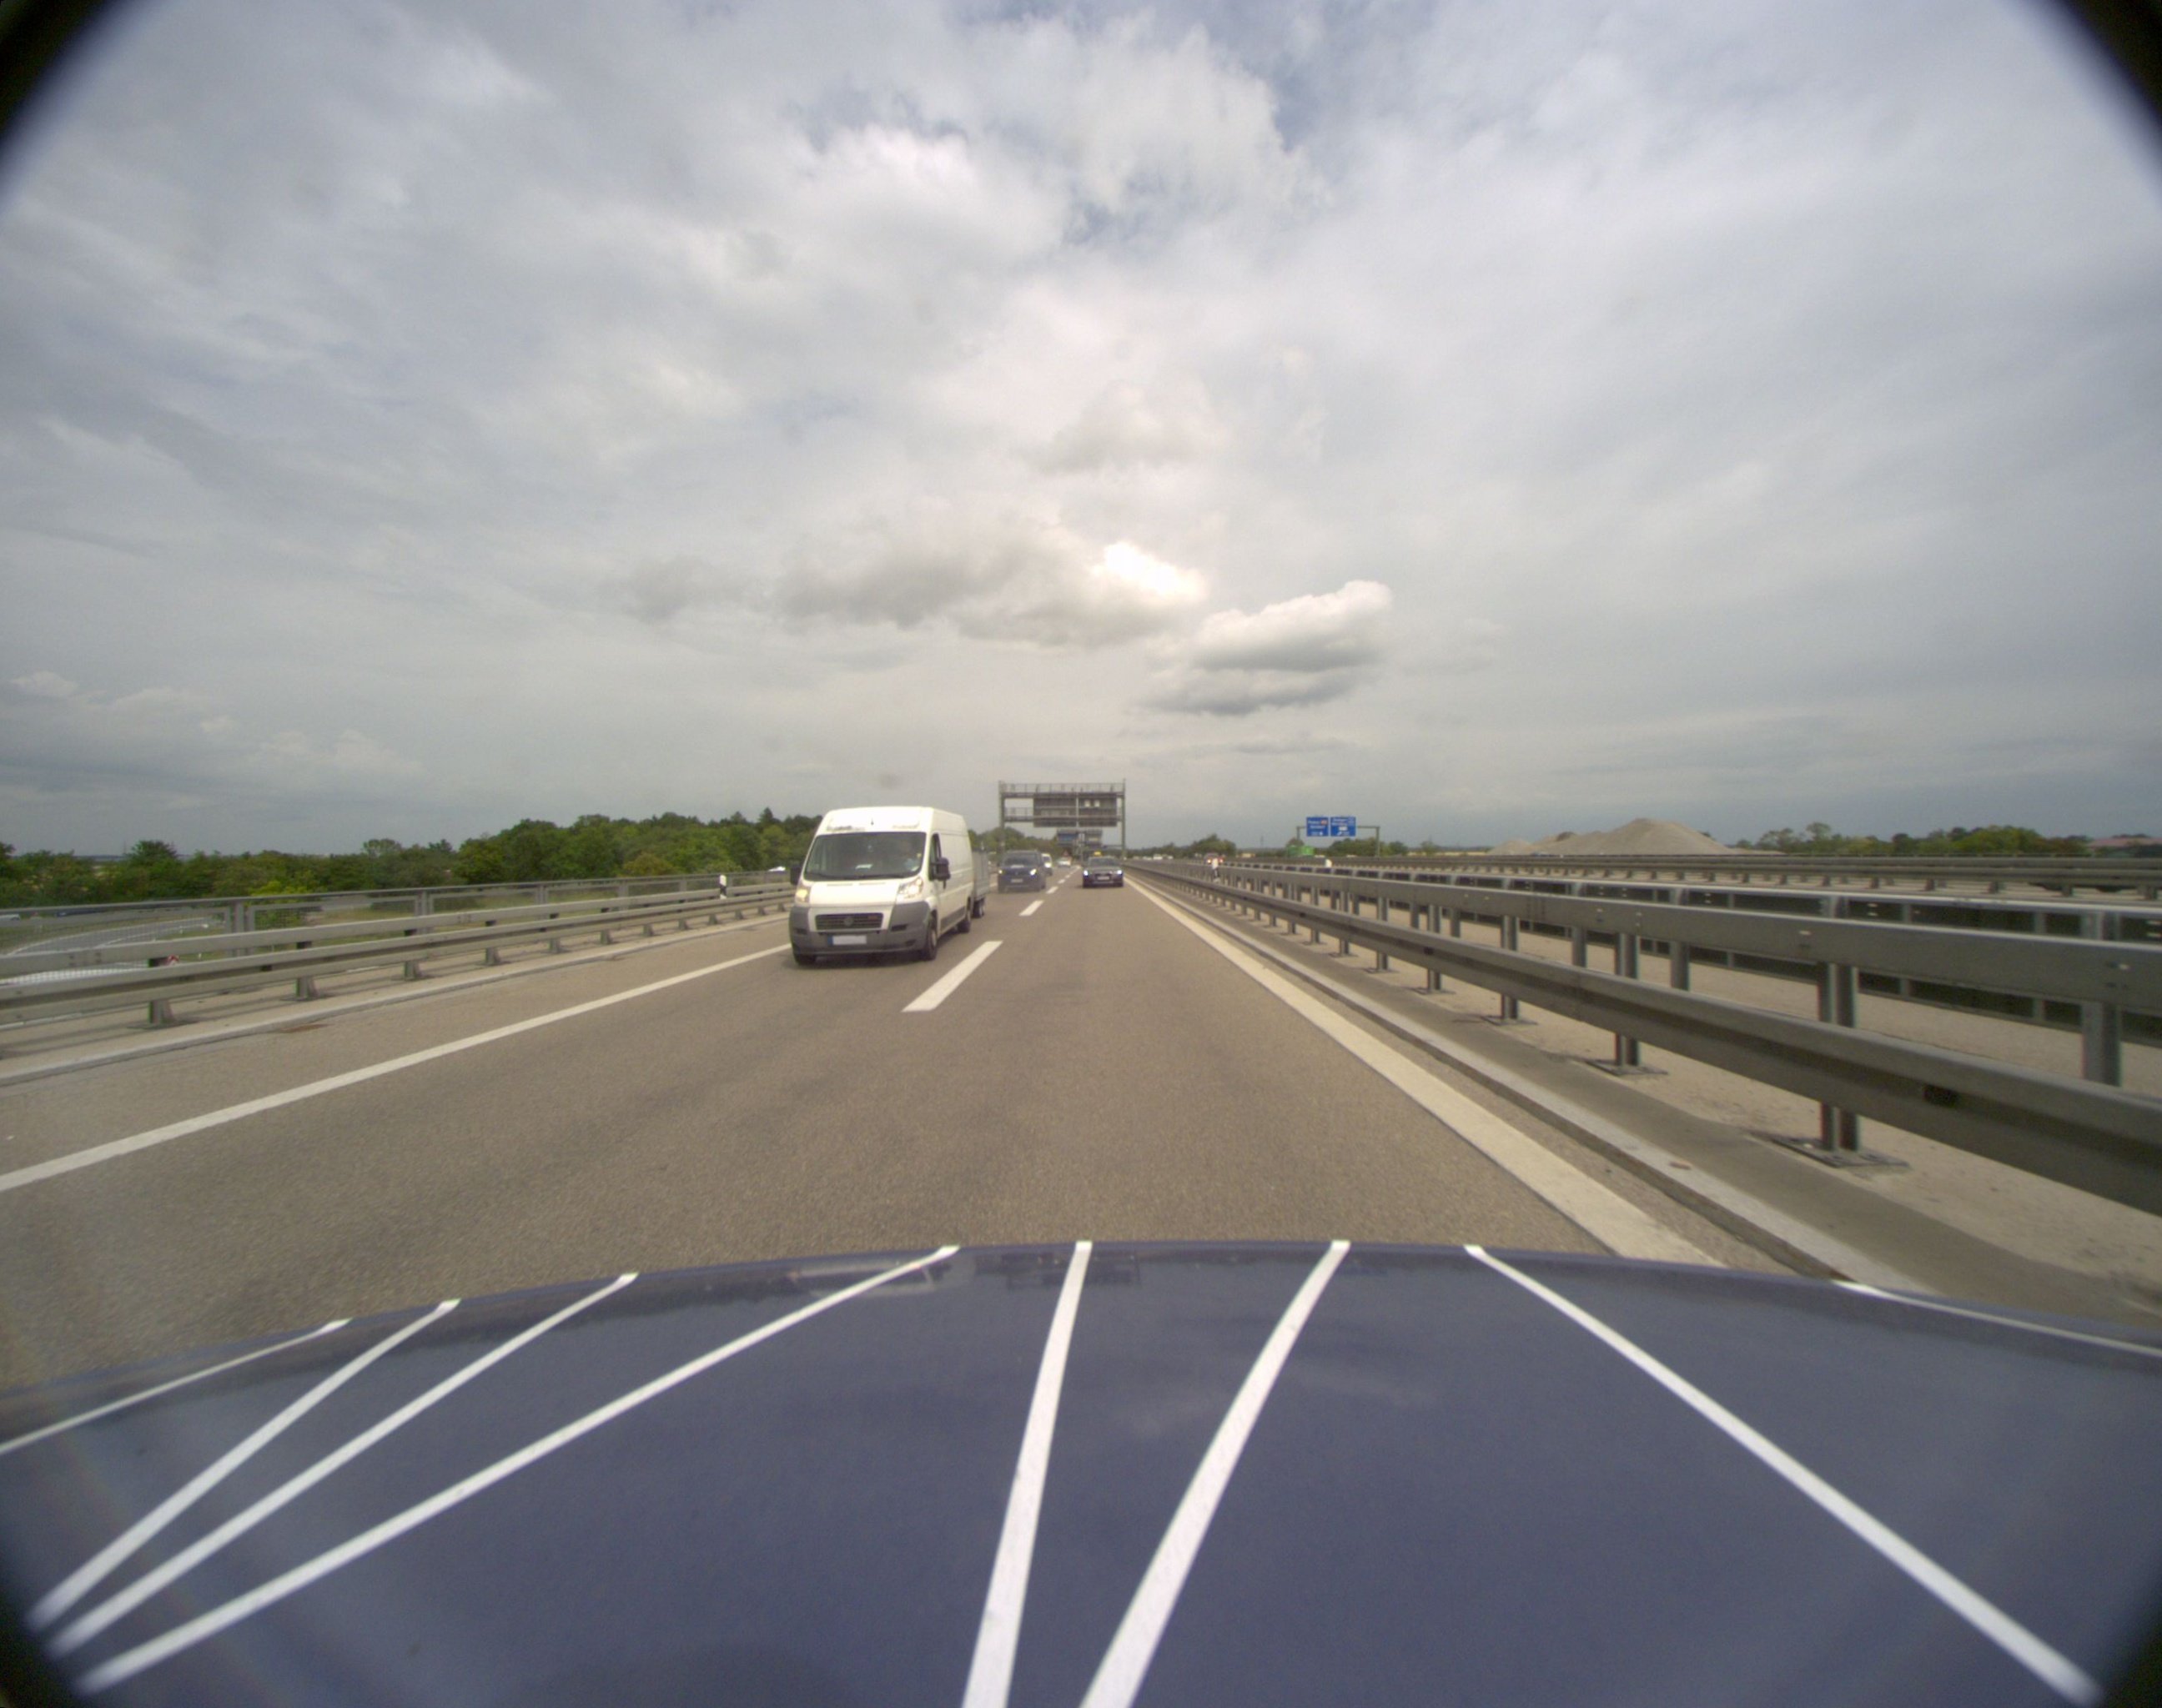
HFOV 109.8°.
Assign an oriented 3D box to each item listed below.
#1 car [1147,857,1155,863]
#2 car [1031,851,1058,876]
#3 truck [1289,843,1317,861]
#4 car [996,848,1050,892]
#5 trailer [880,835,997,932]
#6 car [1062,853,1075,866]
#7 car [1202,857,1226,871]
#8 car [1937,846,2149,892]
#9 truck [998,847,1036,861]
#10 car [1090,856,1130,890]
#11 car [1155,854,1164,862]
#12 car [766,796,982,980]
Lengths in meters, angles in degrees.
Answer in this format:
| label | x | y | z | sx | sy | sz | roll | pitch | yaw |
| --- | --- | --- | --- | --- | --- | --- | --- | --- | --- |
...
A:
| label | x | y | z | sx | sy | sz | roll | pitch | yaw |
| --- | --- | --- | --- | --- | --- | --- | --- | --- | --- |
| car | 21.367 | 1.785 | 232.173 | 1.999 | 1.871 | 3.999 | -2 | 0 | -1 |
| car | -2.904 | 0.710 | 60.830 | 1.846 | 1.871 | 4.289 | -2 | 0 | 1 |
| truck | 48.004 | -0.459 | 164.436 | 3.020 | 3.613 | 10.437 | -2 | 0 | 1 |
| car | -2.530 | 0.691 | 34.021 | 1.998 | 1.783 | 4.000 | -2 | 0 | 1 |
| trailer | -3.310 | 0.640 | 18.567 | 1.859 | 2.002 | 4.631 | -2 | 0 | 1 |
| car | -1.959 | 0.827 | 118.384 | 1.846 | 1.871 | 4.289 | -2 | 0 | 1 |
| car | 15.222 | 1.109 | 87.245 | 1.824 | 1.537 | 4.354 | -2 | 0 | -1 |
| car | 30.426 | 0.442 | 24.254 | 1.719 | 1.319 | 4.000 | -1 | 0 | 0 |
| truck | -18.919 | 0.021 | 225.382 | 11.815 | 3.835 | 2.839 | -2 | 0 | -43 |
| car | 1.327 | 0.858 | 35.834 | 1.747 | 1.380 | 3.999 | -2 | 1 | 1 |
| car | 20.893 | 1.042 | 201.582 | 1.998 | 2.002 | 4.466 | -2 | 0 | 1 |
| car | -3.237 | 0.476 | 13.503 | 2.119 | 2.439 | 6.151 | -2 | 0 | 0 |
